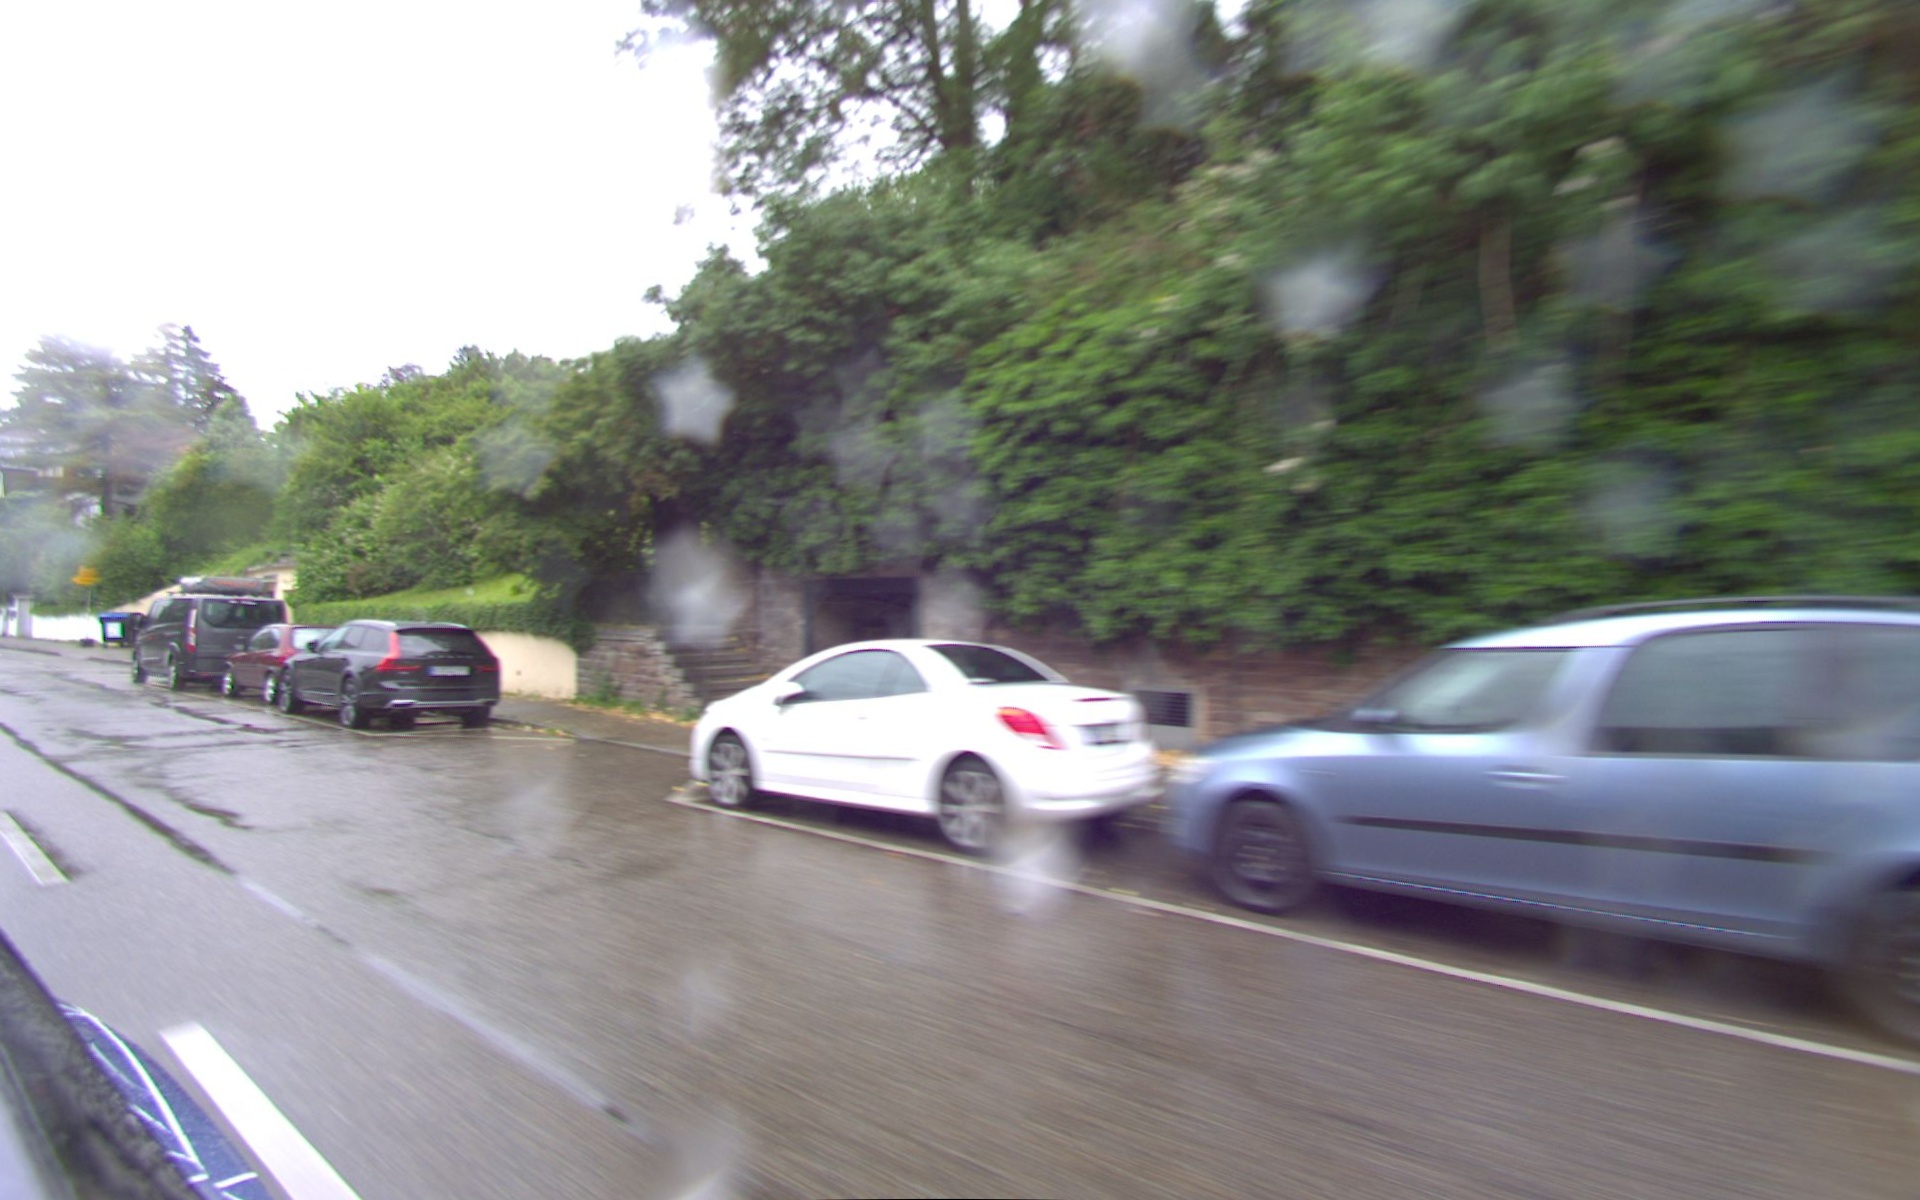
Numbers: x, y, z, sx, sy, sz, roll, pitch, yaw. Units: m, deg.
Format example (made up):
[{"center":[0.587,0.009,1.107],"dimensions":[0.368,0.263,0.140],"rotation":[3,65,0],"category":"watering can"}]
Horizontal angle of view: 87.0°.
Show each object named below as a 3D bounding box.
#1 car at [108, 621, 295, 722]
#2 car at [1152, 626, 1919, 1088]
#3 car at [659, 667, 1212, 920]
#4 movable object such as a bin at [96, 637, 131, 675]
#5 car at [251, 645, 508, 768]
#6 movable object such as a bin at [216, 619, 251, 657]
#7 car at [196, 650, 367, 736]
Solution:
[{"center":[-16.665,1.467,22.126],"dimensions":[5.320,1.933,2.136],"rotation":[-1,-3,41],"category":"car"},{"center":[3.146,0.958,4.808],"dimensions":[4.109,1.573,1.722],"rotation":[-2,-5,43],"category":"car"},{"center":[-0.346,1.236,7.690],"dimensions":[4.079,1.376,1.699],"rotation":[-2,-5,39],"category":"car"},{"center":[-35.010,2.300,41.865],"dimensions":[0.860,1.456,0.924],"rotation":[0,2,37],"category":"movable object such as a bin"},{"center":[-8.820,1.499,15.189],"dimensions":[4.754,1.492,1.888],"rotation":[-1,-5,42],"category":"car"},{"center":[-26.769,1.396,37.281],"dimensions":[1.134,1.392,0.811],"rotation":[-2,-2,43],"category":"movable object such as a bin"},{"center":[-12.655,1.664,18.801],"dimensions":[3.904,1.375,1.549],"rotation":[-1,-4,40],"category":"car"}]
